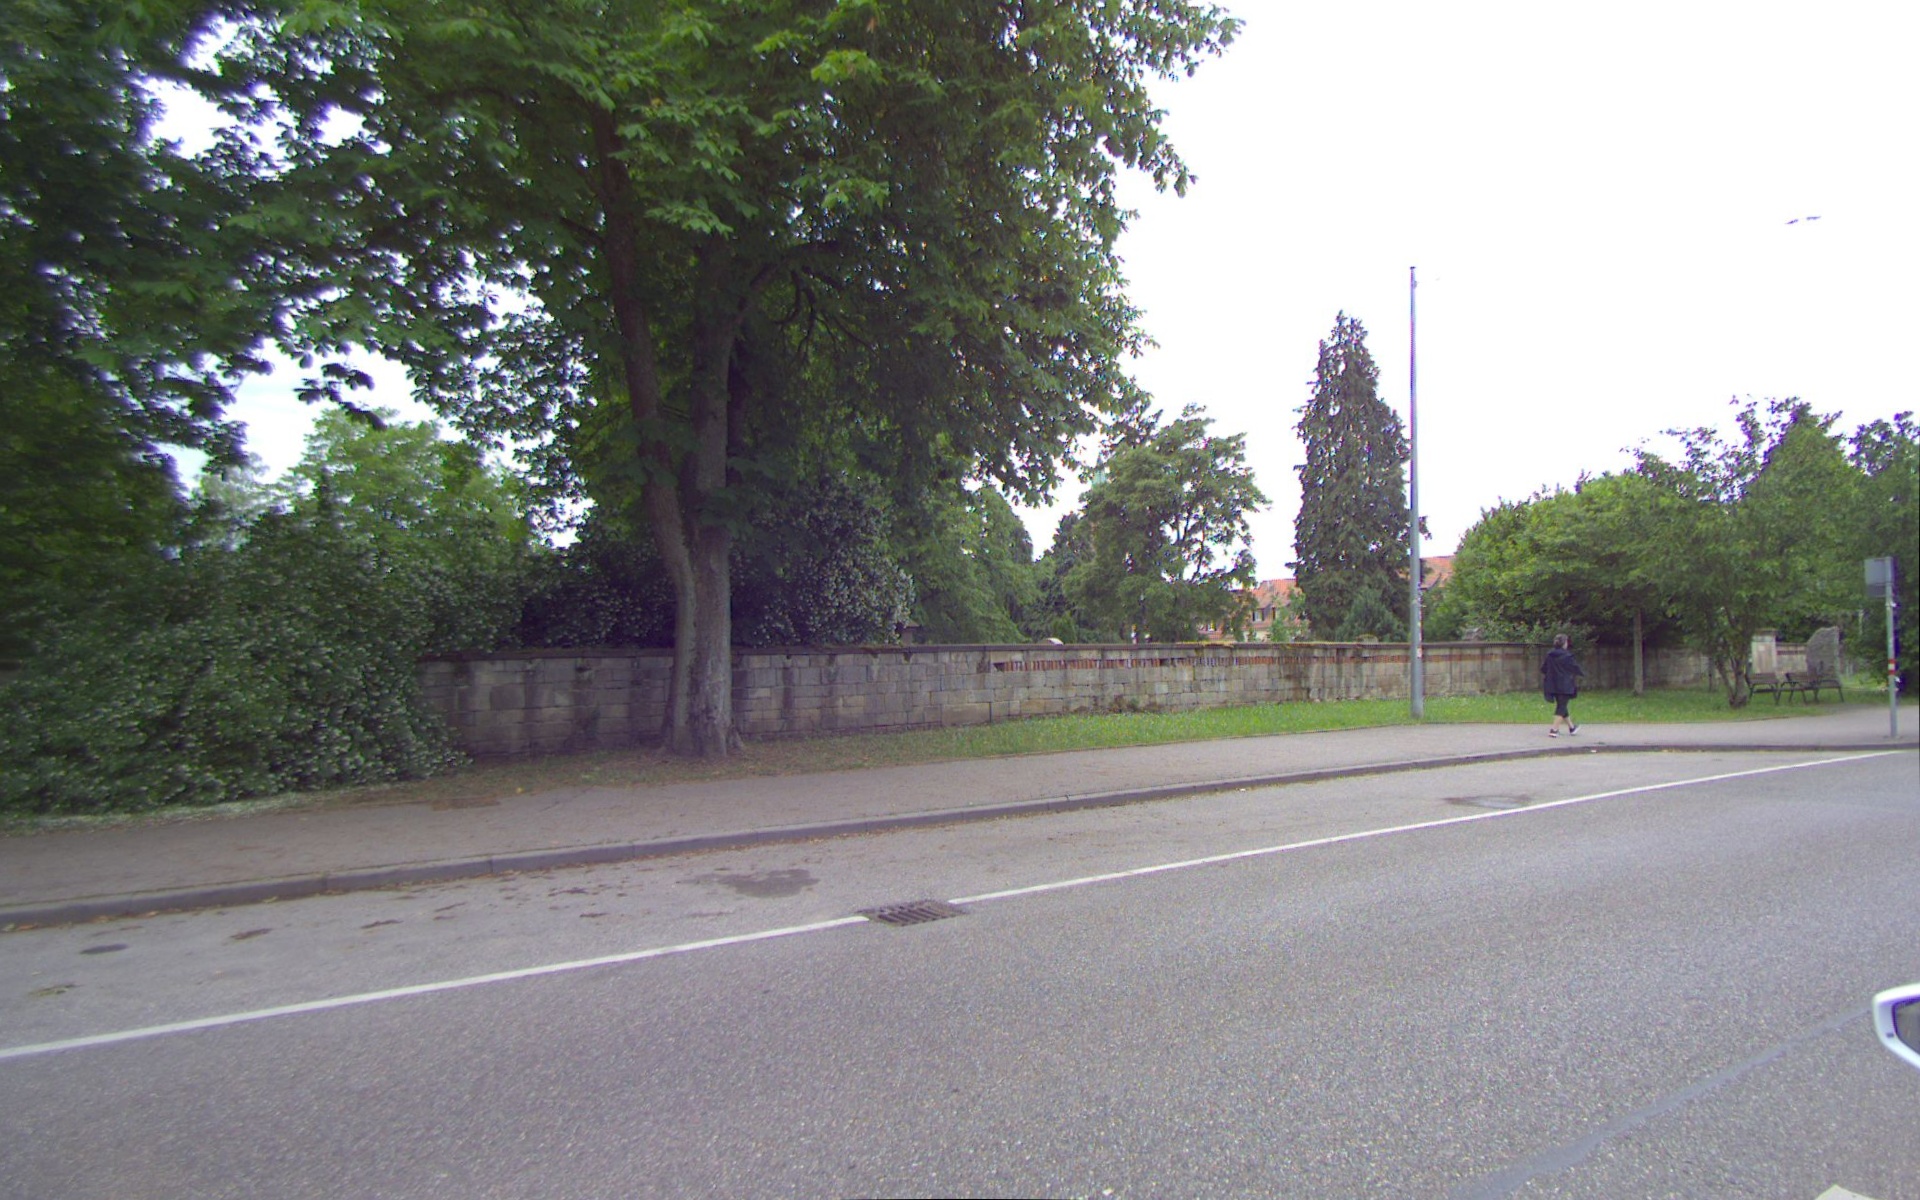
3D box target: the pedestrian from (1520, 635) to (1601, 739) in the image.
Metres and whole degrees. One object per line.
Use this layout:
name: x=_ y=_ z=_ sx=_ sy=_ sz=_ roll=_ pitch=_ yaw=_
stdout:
pedestrian: x=9.622 y=1.365 z=16.103 sx=0.955 sy=1.599 sz=0.745 roll=1 pitch=-1 yaw=-30
